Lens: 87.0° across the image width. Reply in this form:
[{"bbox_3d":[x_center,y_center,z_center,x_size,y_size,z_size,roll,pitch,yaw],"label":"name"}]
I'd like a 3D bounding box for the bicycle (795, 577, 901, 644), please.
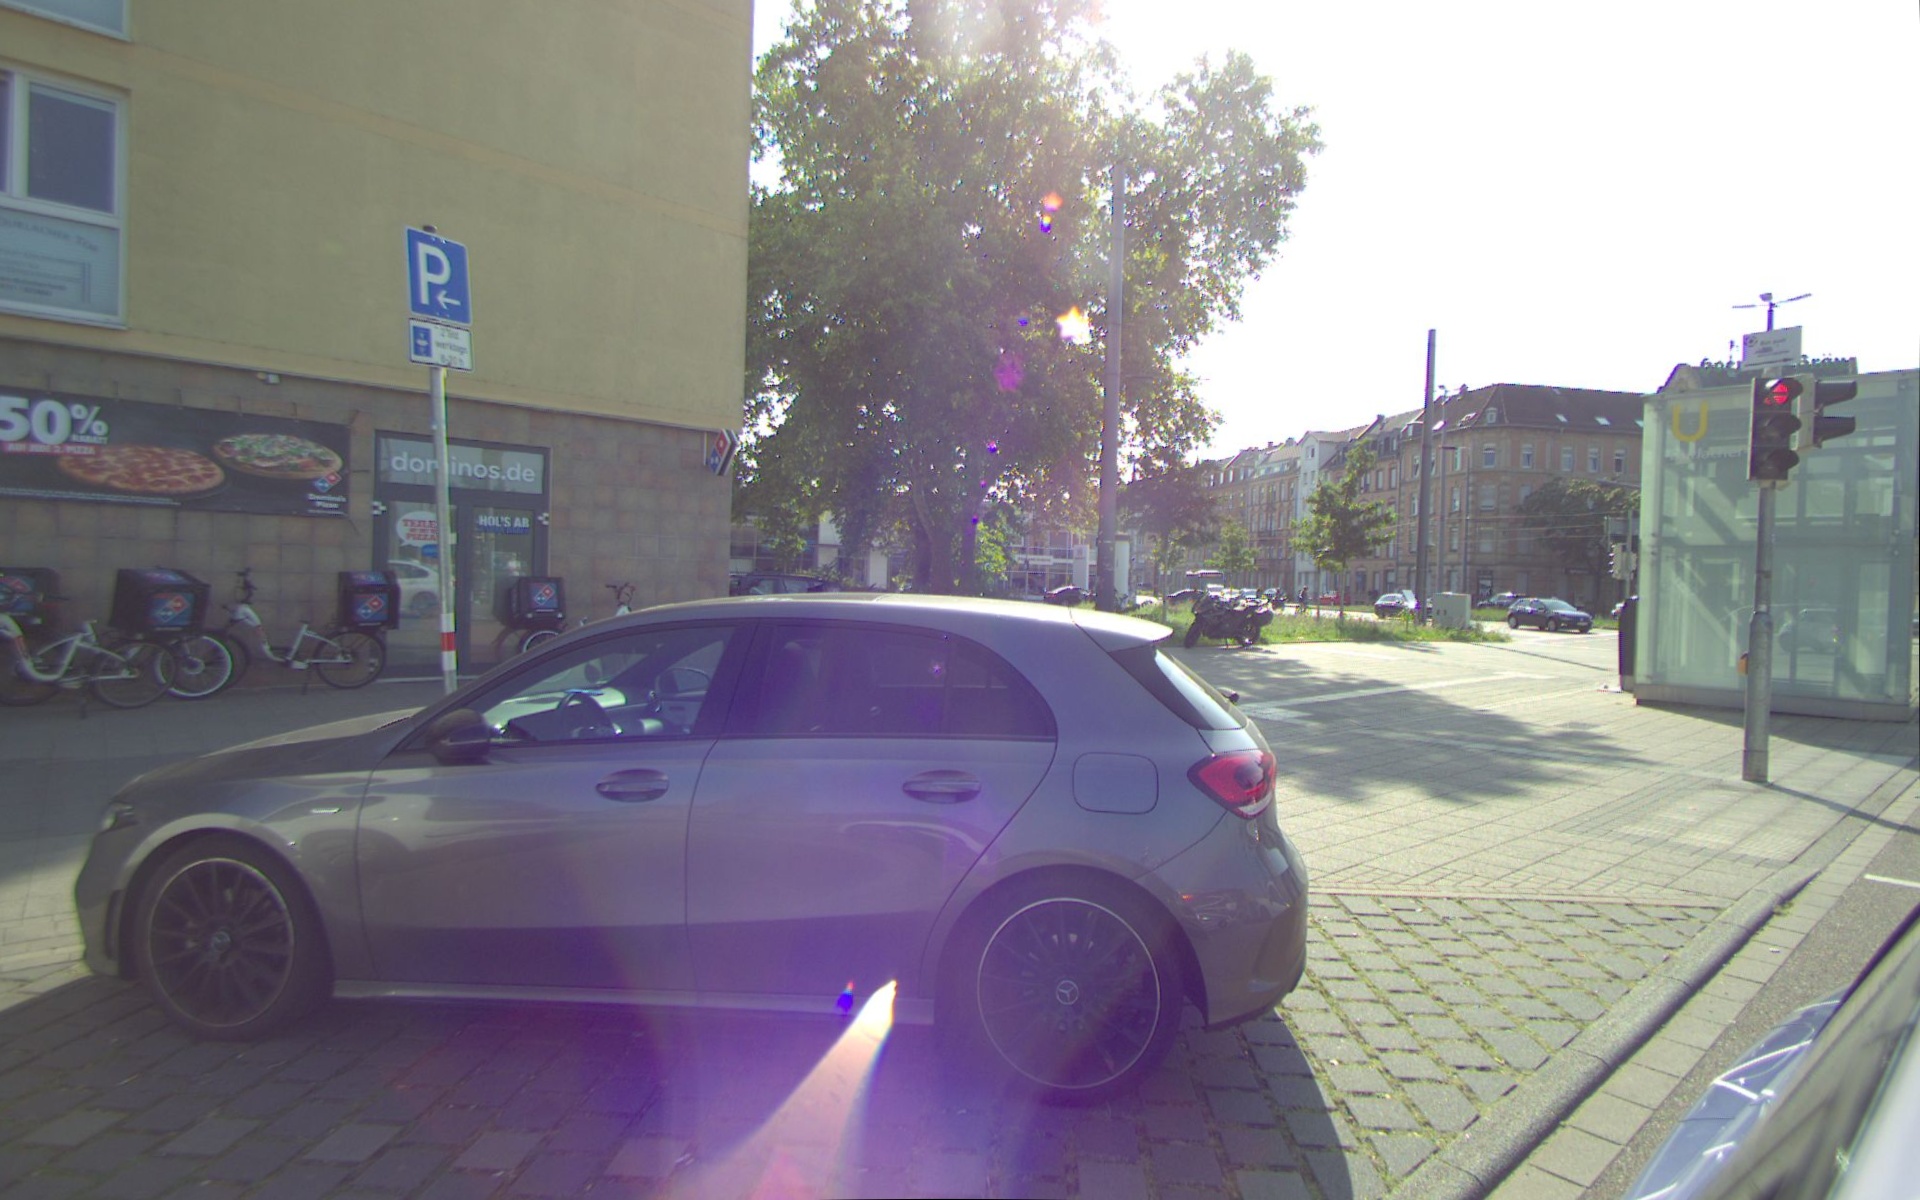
[{"bbox_3d":[-2.206,0.202,20.222,0.523,1.250,2.264,3,1,44],"label":"bicycle"}]

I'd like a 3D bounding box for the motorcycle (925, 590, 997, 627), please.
[{"bbox_3d":[0.030,0.259,29.294,1.916,1.014,0.707,1,1,-25],"label":"motorcycle"}]

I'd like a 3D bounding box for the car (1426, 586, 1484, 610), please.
[{"bbox_3d":[38.189,-0.195,78.192,1.778,1.644,4.297,3,1,-9],"label":"car"}]

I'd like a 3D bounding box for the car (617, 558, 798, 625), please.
[{"bbox_3d":[-6.302,-0.219,25.447,3.929,1.526,1.998,1,2,-40],"label":"car"}]

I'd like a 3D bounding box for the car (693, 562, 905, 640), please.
[{"bbox_3d":[-3.299,0.010,21.209,4.120,1.459,1.660,1,2,-40],"label":"car"}]

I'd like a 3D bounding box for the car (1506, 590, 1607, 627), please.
[{"bbox_3d":[26.844,0.365,45.702,1.766,1.459,3.912,2,1,-10],"label":"car"}]

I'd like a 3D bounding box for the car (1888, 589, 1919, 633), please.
[{"bbox_3d":[44.600,0.586,45.161,1.757,1.910,4.300,3,1,-21],"label":"car"}]

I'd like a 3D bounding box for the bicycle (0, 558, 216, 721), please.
[{"bbox_3d":[-7.482,0.303,8.441,0.602,1.277,1.968,2,1,41],"label":"bicycle"}]

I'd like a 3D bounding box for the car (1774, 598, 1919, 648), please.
[{"bbox_3d":[29.334,0.728,33.214,1.765,1.433,3.624,1,1,-20],"label":"car"}]

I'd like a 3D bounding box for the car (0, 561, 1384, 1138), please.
[{"bbox_3d":[-0.940,0.621,3.864,4.335,1.441,1.844,1,1,8],"label":"car"}]

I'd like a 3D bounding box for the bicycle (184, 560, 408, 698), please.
[{"bbox_3d":[-6.686,0.264,10.251,1.817,1.277,0.603,1,1,-42],"label":"bicycle"}]

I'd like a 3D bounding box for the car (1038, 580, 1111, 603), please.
[{"bbox_3d":[7.490,-0.561,66.281,4.305,1.387,2.005,1,1,-16],"label":"car"}]

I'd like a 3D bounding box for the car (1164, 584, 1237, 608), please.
[{"bbox_3d":[15.917,-0.288,67.036,4.317,1.387,1.999,2,1,2],"label":"car"}]

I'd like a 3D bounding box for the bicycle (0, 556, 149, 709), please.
[{"bbox_3d":[-8.273,0.261,8.681,0.602,1.277,1.968,2,1,41],"label":"bicycle"}]

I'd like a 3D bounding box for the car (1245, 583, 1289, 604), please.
[{"bbox_3d":[23.437,-0.505,77.378,1.766,1.459,3.638,2,1,-10],"label":"car"}]

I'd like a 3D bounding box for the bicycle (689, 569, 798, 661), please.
[{"bbox_3d":[-3.217,0.179,14.905,0.659,1.221,2.021,1,2,-40],"label":"bicycle"}]

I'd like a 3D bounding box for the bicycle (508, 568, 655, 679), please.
[{"bbox_3d":[-4.629,0.270,12.445,1.608,1.277,0.469,1,1,-42],"label":"bicycle"}]

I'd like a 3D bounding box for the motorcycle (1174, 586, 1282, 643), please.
[{"bbox_3d":[5.671,0.308,21.372,2.253,1.161,0.707,1,1,-25],"label":"motorcycle"}]

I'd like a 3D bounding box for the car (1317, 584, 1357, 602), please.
[{"bbox_3d":[34.343,-0.638,92.318,1.642,1.466,3.788,2,1,-11],"label":"car"}]

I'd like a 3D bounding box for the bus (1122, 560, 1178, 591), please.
[{"bbox_3d":[19.844,-2.567,106.589,2.841,3.021,11.509,2,1,-4],"label":"bus"}]

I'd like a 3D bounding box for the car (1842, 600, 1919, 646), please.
[{"bbox_3d":[32.210,0.807,33.690,1.766,1.433,4.008,2,1,-10],"label":"car"}]
